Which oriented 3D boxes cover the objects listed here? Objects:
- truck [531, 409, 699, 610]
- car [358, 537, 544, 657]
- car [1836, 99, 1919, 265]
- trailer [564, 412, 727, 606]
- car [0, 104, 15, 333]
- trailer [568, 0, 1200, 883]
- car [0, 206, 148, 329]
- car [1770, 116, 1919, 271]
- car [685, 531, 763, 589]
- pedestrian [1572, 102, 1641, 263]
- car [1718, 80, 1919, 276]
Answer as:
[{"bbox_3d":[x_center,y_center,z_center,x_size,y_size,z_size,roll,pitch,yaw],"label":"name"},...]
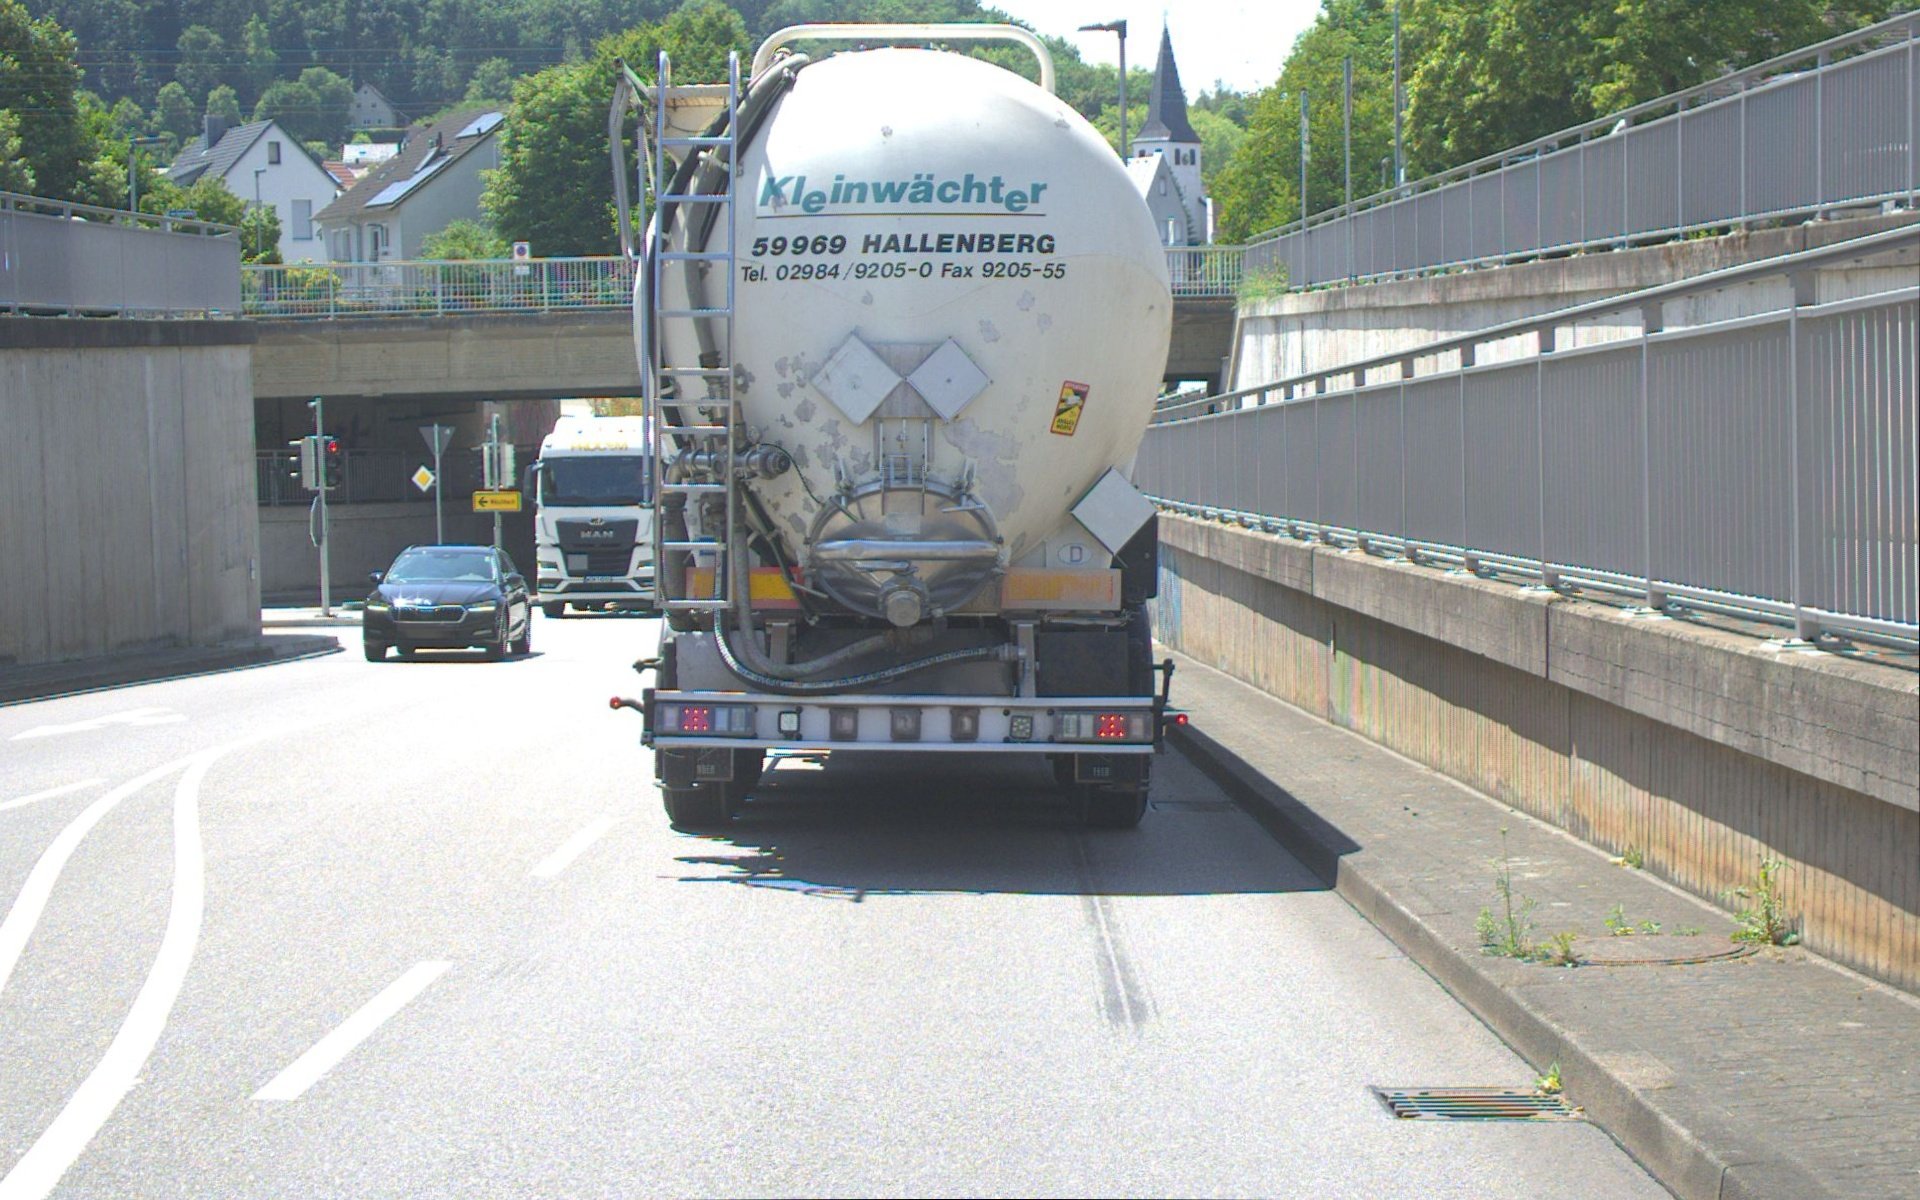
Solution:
[{"bbox_3d":[-6.846,-1.777,69.014,2.662,3.847,6.580,0,1,0],"label":"truck"},{"bbox_3d":[-6.605,-0.083,44.996,1.760,1.484,4.369,0,1,0],"label":"car"},{"bbox_3d":[9.853,-3.685,30.196,3.906,1.362,1.686,-1,4,1],"label":"car"},{"bbox_3d":[-6.731,-1.922,74.728,2.610,3.950,9.346,0,1,0],"label":"trailer"},{"bbox_3d":[-11.700,-4.080,35.846,2.065,2.527,5.663,1,4,0],"label":"car"},{"bbox_3d":[-0.244,-0.932,21.611,2.735,4.050,13.313,0,1,1],"label":"trailer"},{"bbox_3d":[-11.828,-4.292,44.740,1.618,1.495,4.045,1,4,-1],"label":"car"},{"bbox_3d":[9.837,-3.866,32.633,3.906,1.362,1.686,-1,4,1],"label":"car"},{"bbox_3d":[-6.202,-1.059,90.614,1.682,1.436,4.094,2,1,1],"label":"car"},{"bbox_3d":[7.357,-4.742,39.143,0.673,1.773,0.594,-1,4,2],"label":"pedestrian"},{"bbox_3d":[9.862,-4.299,35.057,3.906,1.878,1.686,-1,4,1],"label":"car"}]
